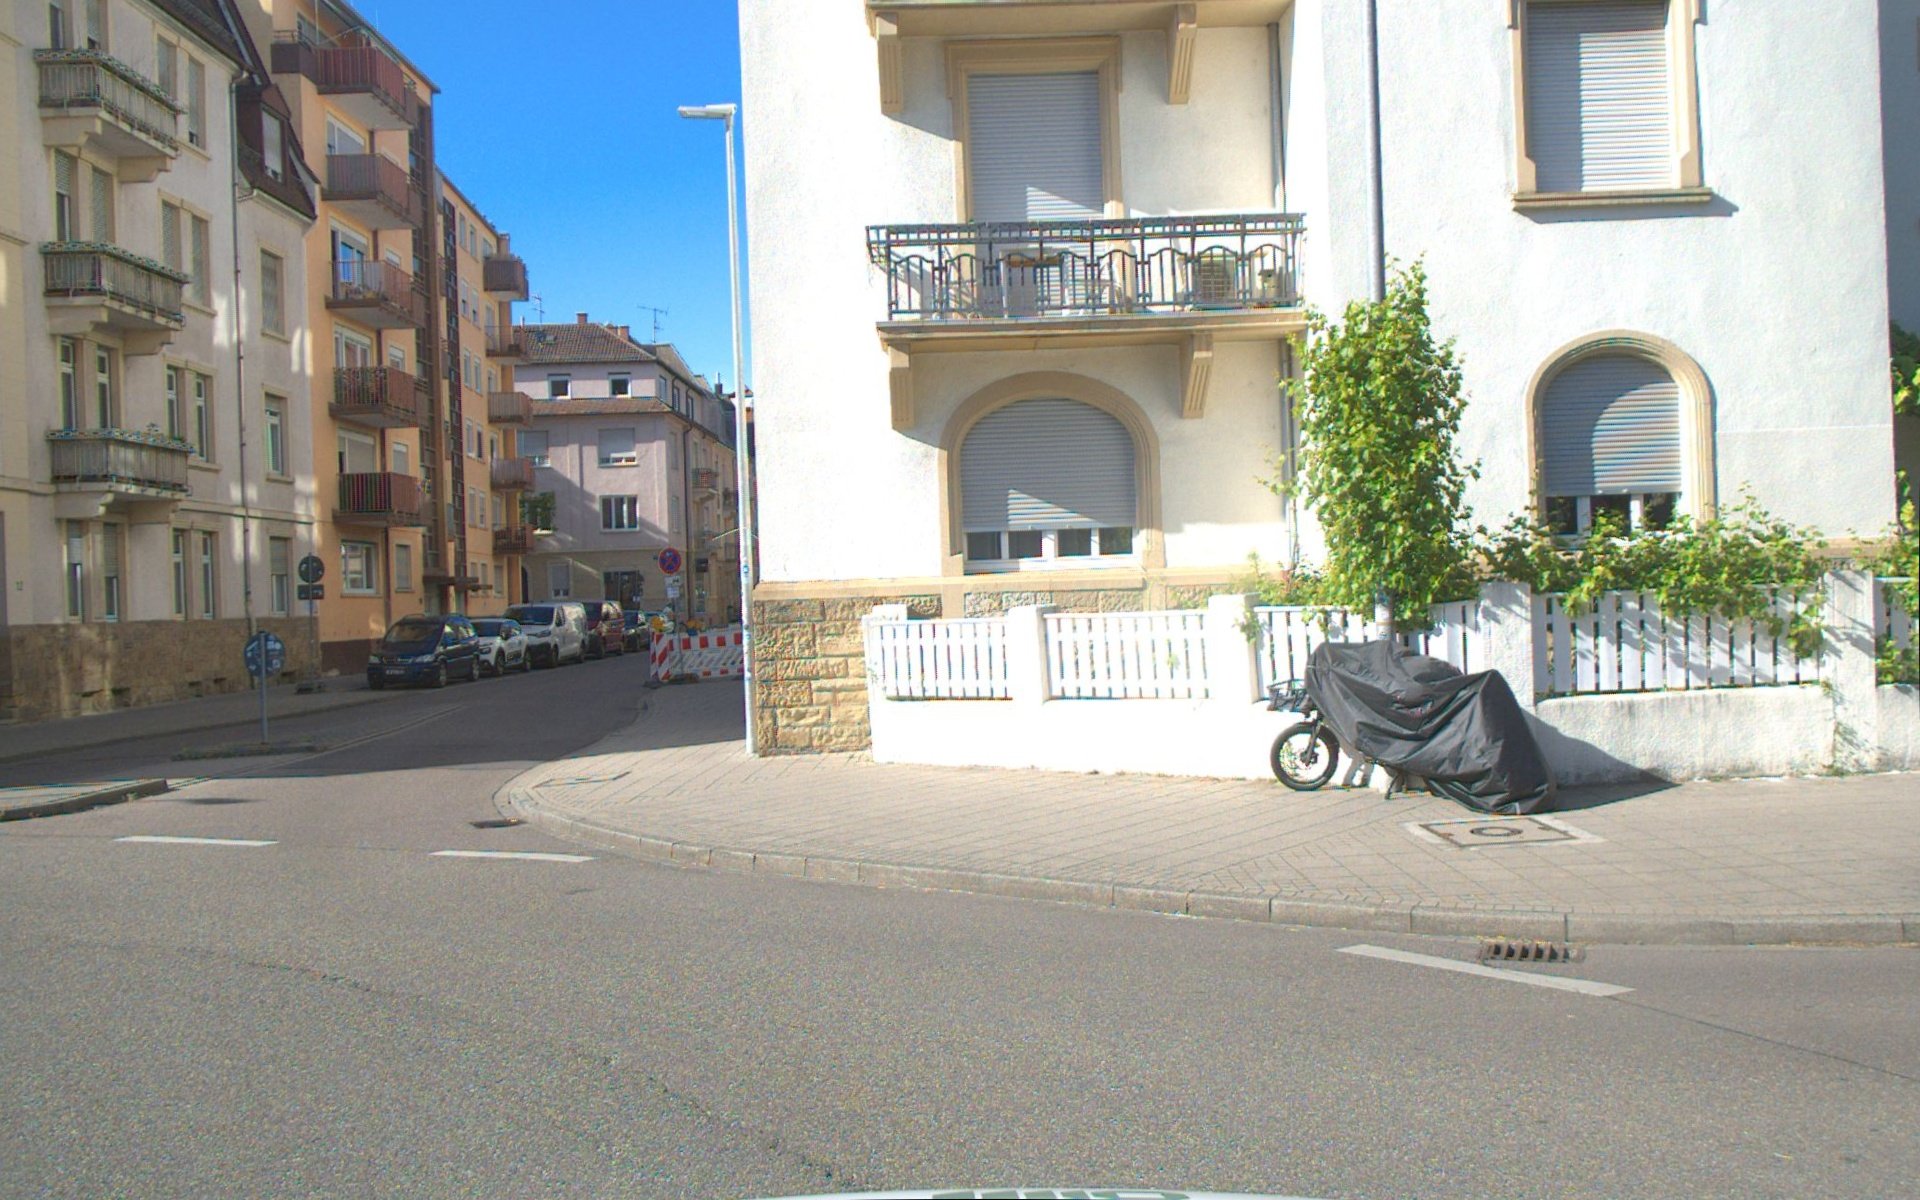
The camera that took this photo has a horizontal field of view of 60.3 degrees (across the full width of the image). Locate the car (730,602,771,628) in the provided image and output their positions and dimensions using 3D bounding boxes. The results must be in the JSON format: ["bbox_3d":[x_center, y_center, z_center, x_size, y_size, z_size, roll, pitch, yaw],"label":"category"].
[{"bbox_3d":[-12.041,0.852,95.092,1.644,1.451,4.275,0,-1,2],"label":"car"}]

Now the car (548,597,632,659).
[{"bbox_3d":[-12.619,0.916,56.712,1.726,1.959,4.935,-1,0,0],"label":"car"}]

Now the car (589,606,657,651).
[{"bbox_3d":[-12.656,1.046,62.340,1.727,1.528,3.999,-3,0,-1],"label":"car"}]

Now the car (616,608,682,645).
[{"bbox_3d":[-12.646,1.060,67.496,1.726,1.401,4.479,-1,0,1],"label":"car"}]

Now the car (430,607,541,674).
[{"bbox_3d":[-12.843,1.061,45.047,1.726,1.649,4.295,-1,0,0],"label":"car"}]

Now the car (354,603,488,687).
[{"bbox_3d":[-12.774,1.020,39.471,1.726,1.802,4.294,-1,0,0],"label":"car"}]

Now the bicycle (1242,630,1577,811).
[{"bbox_3d":[3.220,0.820,12.025,2.246,1.178,0.762,-1,0,43],"label":"bicycle"}]

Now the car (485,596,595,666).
[{"bbox_3d":[-12.685,0.899,50.324,1.935,1.959,5.309,-1,0,0],"label":"car"}]
